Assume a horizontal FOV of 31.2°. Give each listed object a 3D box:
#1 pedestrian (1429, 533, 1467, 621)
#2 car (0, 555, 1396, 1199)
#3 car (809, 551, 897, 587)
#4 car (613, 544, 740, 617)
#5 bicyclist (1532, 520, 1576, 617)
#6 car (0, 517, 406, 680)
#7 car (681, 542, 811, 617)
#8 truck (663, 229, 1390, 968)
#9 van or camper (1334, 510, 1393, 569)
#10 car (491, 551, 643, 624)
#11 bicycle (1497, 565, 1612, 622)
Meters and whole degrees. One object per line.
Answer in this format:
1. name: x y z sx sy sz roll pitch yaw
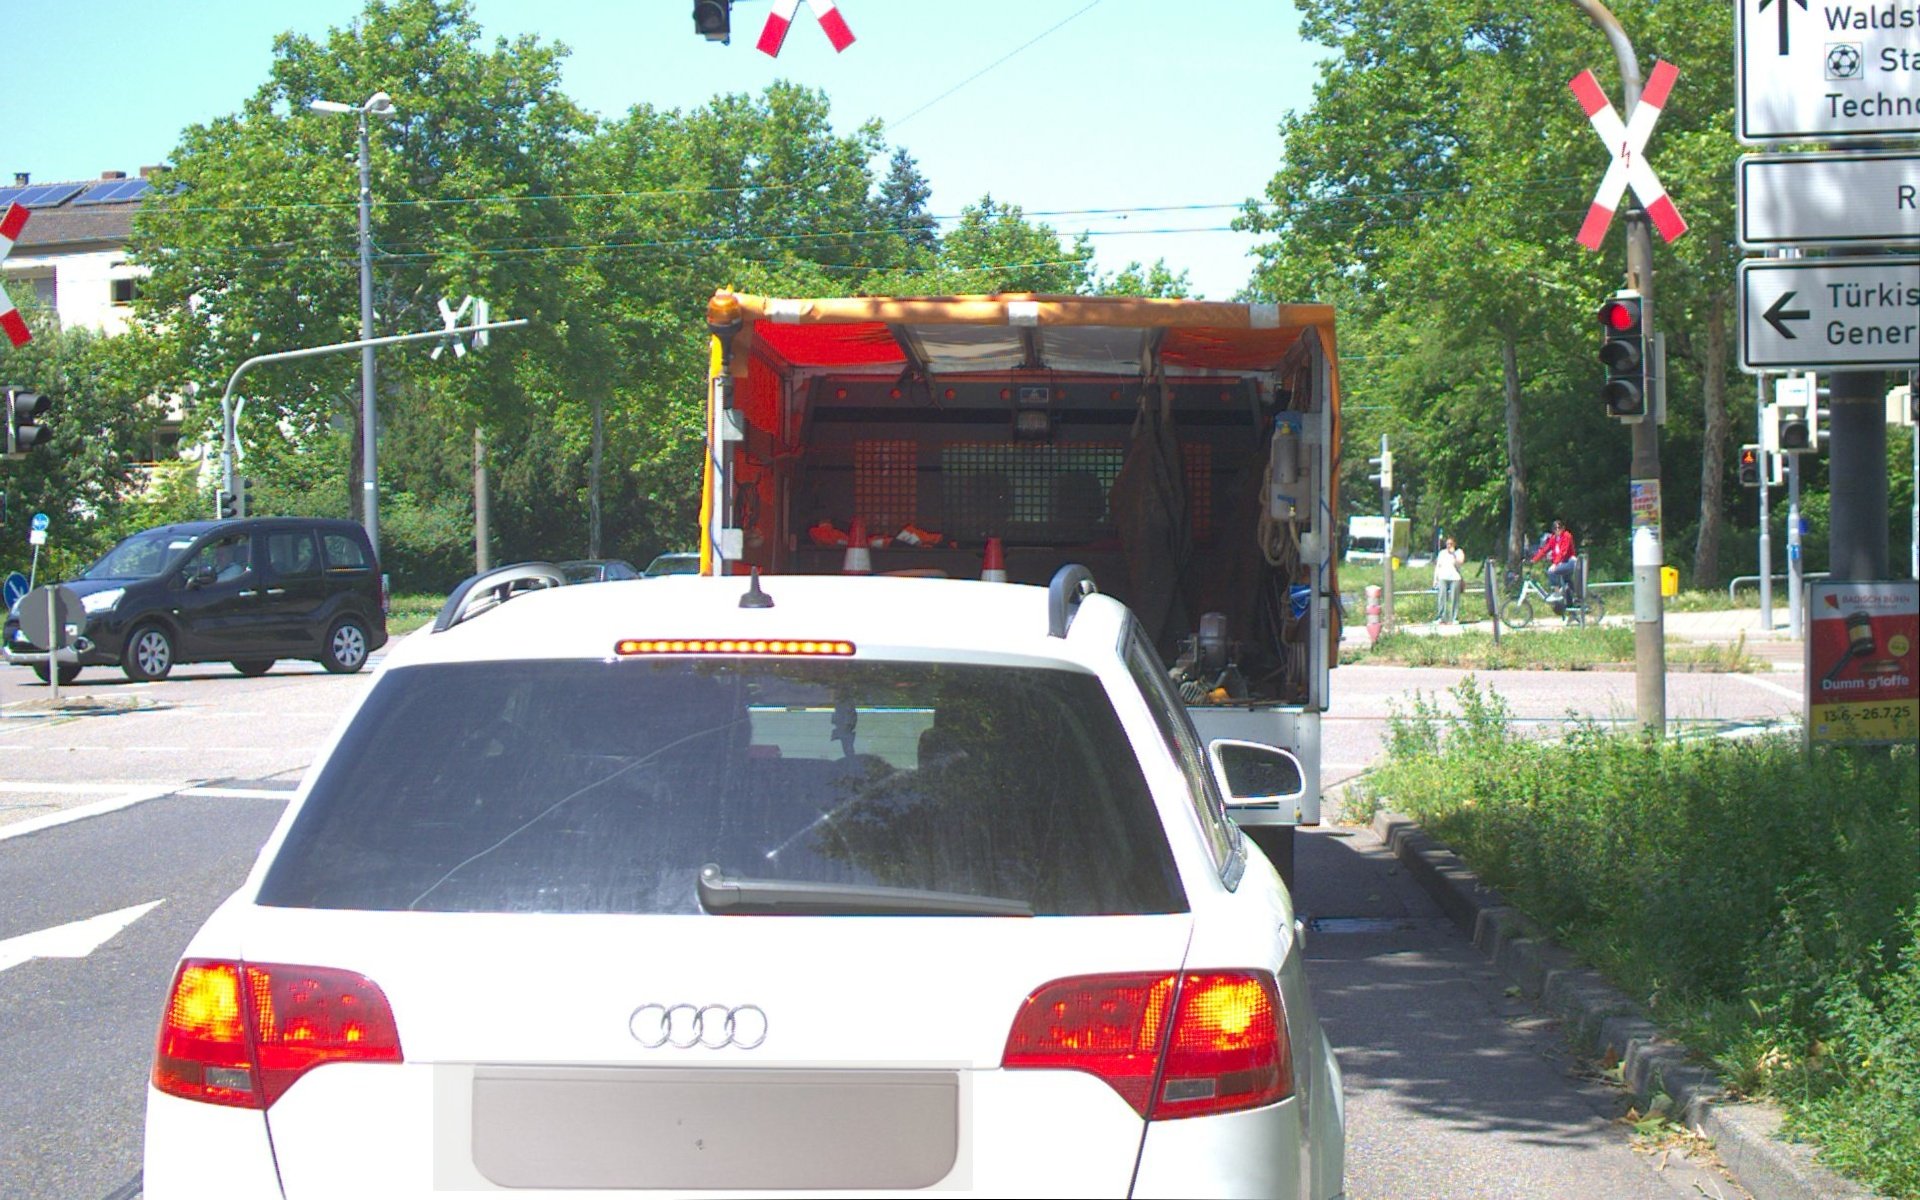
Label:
1. pedestrian: 8.304 -0.398 58.485 0.553 1.479 0.629 -1 1 16
2. car: -0.248 0.656 5.975 1.763 1.440 3.615 0 1 4
3. car: -4.304 -1.254 139.220 1.884 1.388 3.994 0 1 26
4. car: -6.628 -0.482 80.809 1.788 1.609 4.402 -1 1 12
5. bicyclist: 9.635 -0.516 55.764 0.671 1.551 0.579 -1 1 8
6. car: -8.452 -0.055 37.957 1.916 1.673 4.434 0 1 39
7. car: -4.580 -0.460 74.132 1.909 1.533 4.297 -1 1 8
8. truck: 0.397 -0.053 15.833 2.511 2.551 7.603 1 1 3
9. van or camper: 23.461 -3.504 199.786 2.662 3.320 5.497 0 1 14
10. car: -8.358 -0.287 73.469 1.950 1.435 4.745 0 2 10
11. bicycle: 9.636 -0.102 55.770 1.806 0.892 0.589 -1 1 7
